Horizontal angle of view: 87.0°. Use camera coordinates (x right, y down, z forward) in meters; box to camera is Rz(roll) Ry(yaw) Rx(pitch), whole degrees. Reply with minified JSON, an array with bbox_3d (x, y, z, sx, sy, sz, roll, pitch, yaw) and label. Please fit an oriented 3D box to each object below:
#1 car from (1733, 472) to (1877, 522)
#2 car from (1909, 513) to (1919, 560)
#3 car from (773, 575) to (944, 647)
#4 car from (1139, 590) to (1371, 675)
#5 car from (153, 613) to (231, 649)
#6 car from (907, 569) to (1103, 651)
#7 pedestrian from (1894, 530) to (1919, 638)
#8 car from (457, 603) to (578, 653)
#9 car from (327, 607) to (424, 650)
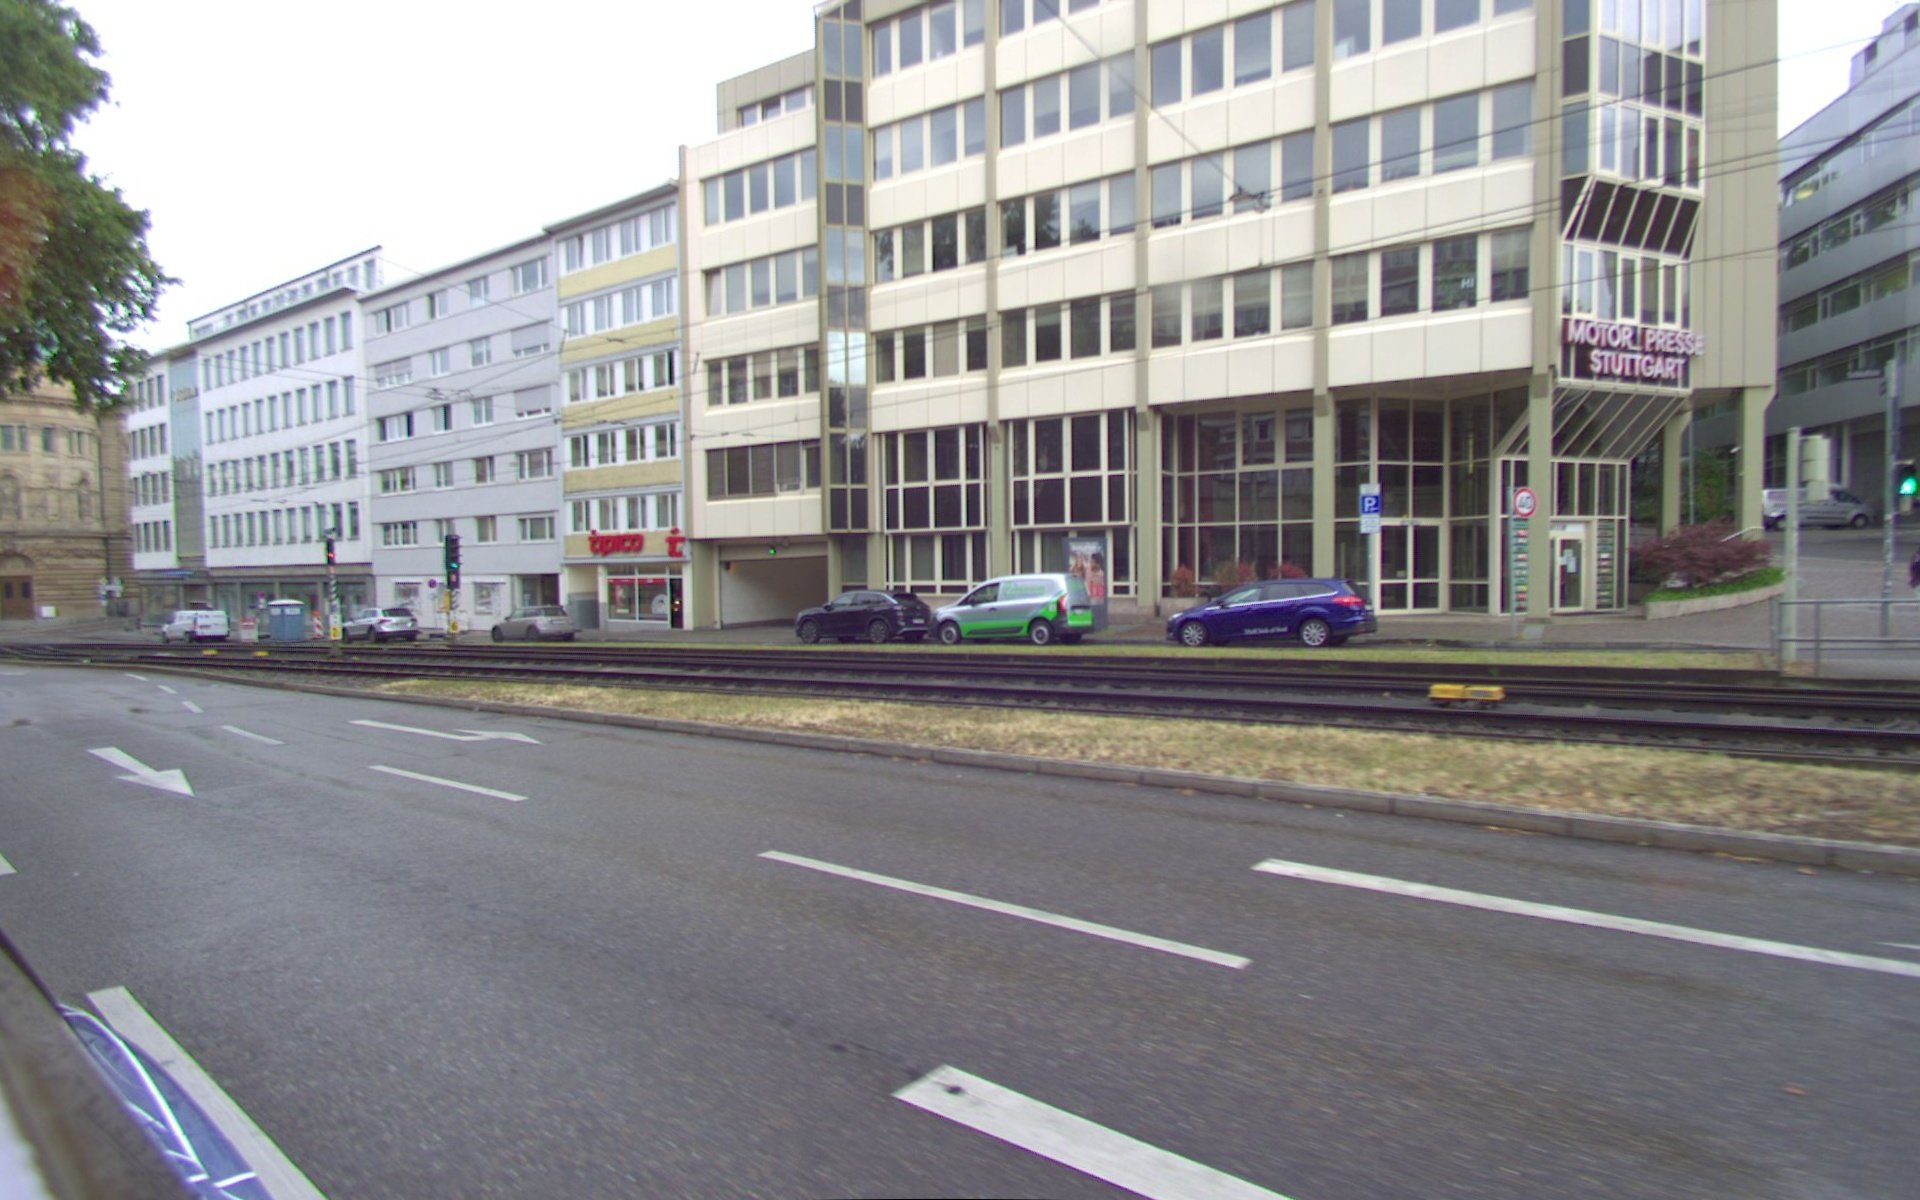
[{"bbox_3d":[39.235,-4.751,47.103,4.779,2.028,1.996,-2,3,8],"label":"car"},{"bbox_3d":[29.730,-1.857,28.642,1.803,1.375,4.004,-2,3,-3],"label":"car"},{"bbox_3d":[-2.972,0.290,29.218,4.682,1.863,1.978,0,3,33],"label":"car"},{"bbox_3d":[6.476,0.650,22.358,4.536,1.593,1.978,0,3,33],"label":"car"},{"bbox_3d":[-44.808,1.756,59.028,5.117,1.856,1.978,0,3,34],"label":"car"},{"bbox_3d":[1.127,0.231,26.268,4.682,1.863,1.978,0,3,33],"label":"car"},{"bbox_3d":[16.465,-0.285,17.094,0.804,1.801,0.637,-1,3,18],"label":"pedestrian"},{"bbox_3d":[-17.105,1.041,39.078,4.682,1.686,1.978,0,3,33],"label":"car"},{"bbox_3d":[-26.424,1.314,45.702,4.685,1.686,1.977,-3,2,36],"label":"car"}]
